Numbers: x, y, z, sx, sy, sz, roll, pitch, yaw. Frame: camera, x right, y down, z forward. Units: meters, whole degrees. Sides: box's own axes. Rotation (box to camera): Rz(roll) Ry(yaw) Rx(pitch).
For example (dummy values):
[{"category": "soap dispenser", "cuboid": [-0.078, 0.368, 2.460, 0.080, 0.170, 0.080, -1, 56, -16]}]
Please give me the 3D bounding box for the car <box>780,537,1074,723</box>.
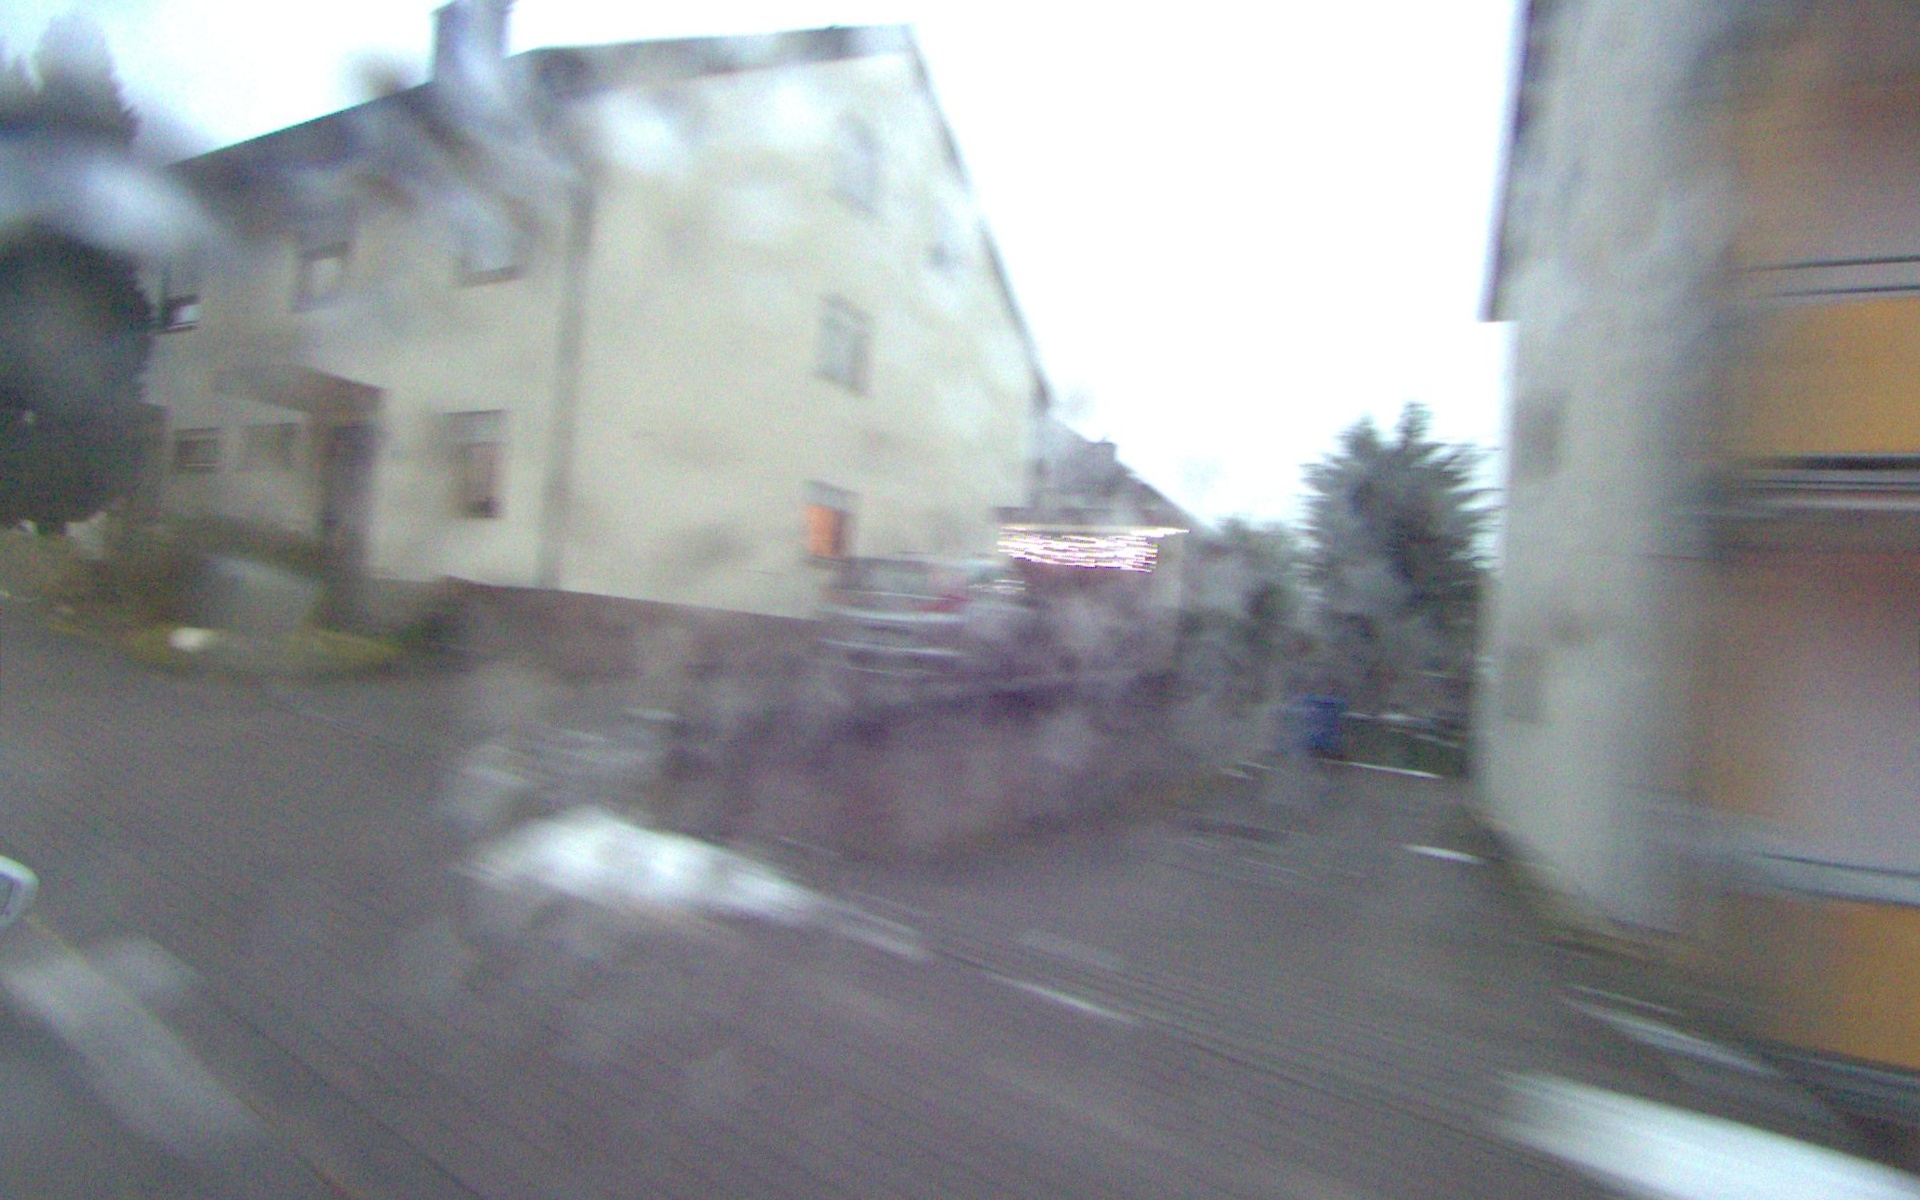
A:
[{"category": "car", "cuboid": [-0.168, 0.254, 12.310, 2.025, 1.671, 4.258, 7, 3, 20]}]
